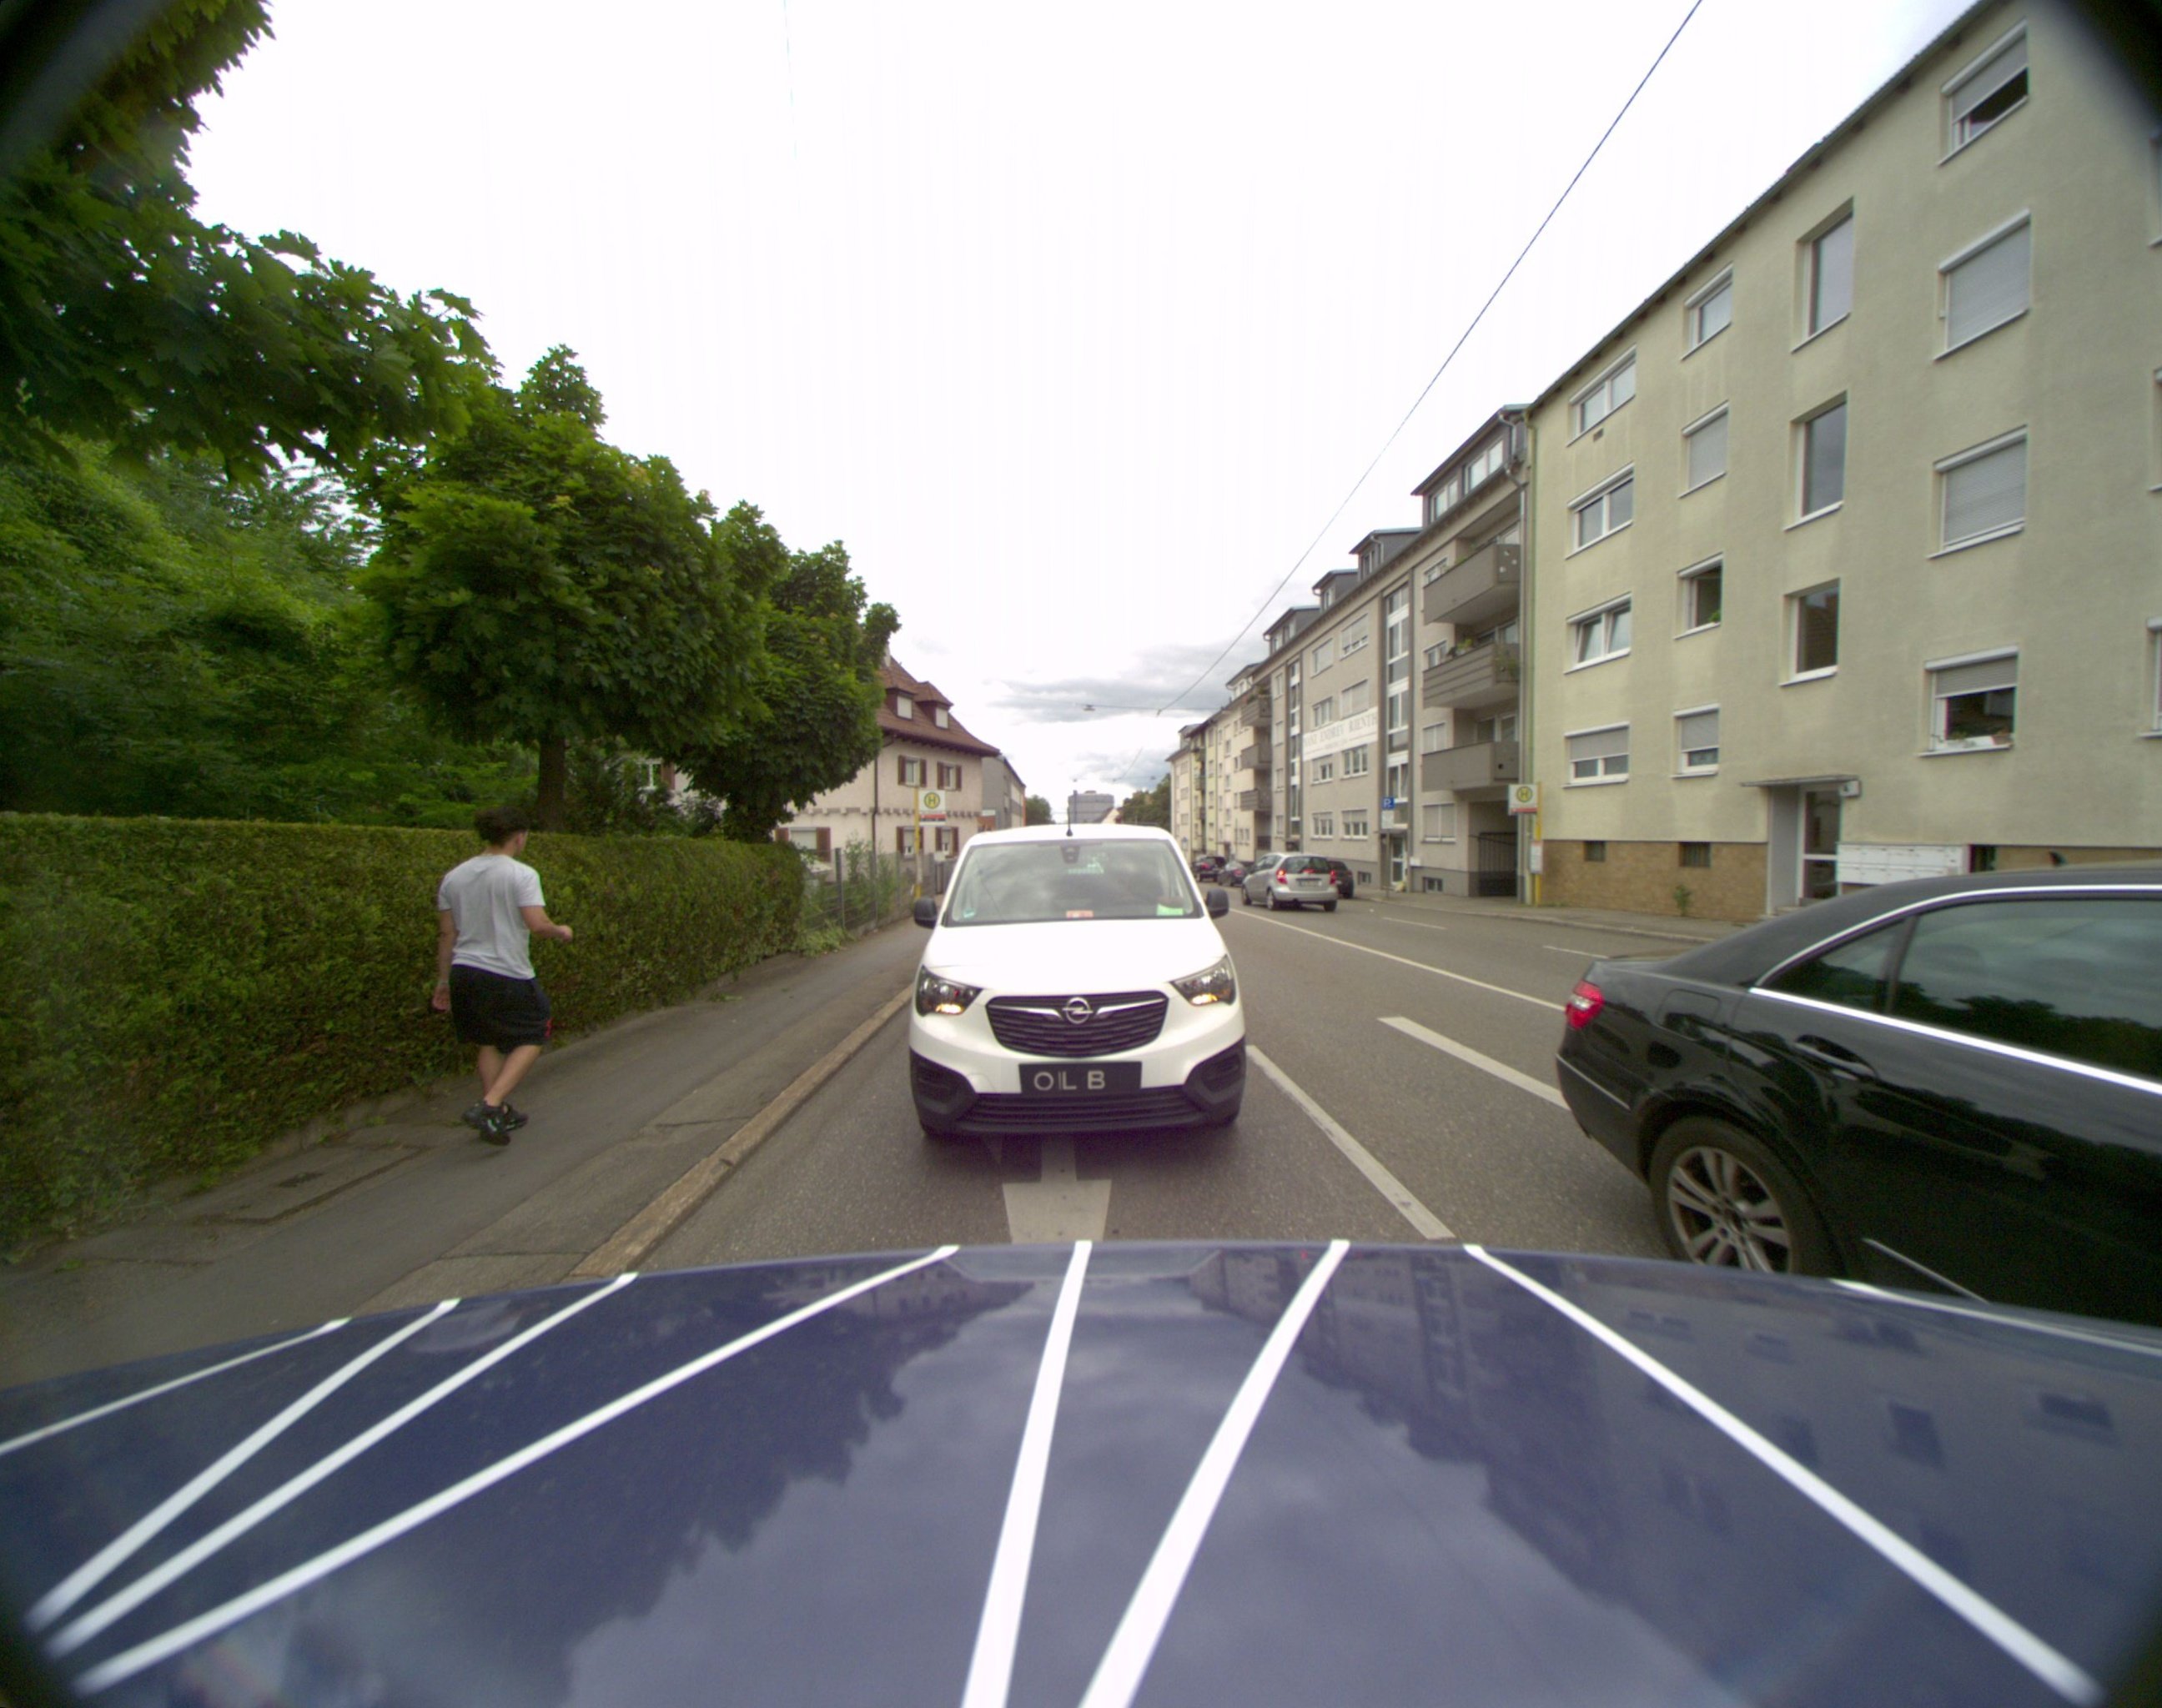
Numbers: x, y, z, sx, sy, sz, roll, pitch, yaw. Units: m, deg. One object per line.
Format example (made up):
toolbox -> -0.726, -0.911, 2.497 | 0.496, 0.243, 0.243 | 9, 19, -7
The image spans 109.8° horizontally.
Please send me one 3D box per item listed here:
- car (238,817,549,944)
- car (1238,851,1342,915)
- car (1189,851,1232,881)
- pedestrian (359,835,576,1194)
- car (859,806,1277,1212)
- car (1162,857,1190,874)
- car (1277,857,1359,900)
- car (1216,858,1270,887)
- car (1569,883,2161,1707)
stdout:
car -> -12.633, 0.404, 14.167 | 1.994, 2.002, 4.008 | -1, 0, 40
car -> 5.781, 0.740, 21.548 | 1.713, 1.608, 3.999 | 0, 1, -2
car -> 8.326, 0.734, 49.075 | 1.875, 1.743, 4.306 | 2, 1, -2
pedestrian -> -3.131, 0.782, 3.920 | 0.695, 1.728, 0.467 | 2, 1, -1
car -> -0.113, 0.675, 5.411 | 1.803, 1.736, 3.999 | -3, 1, -2
car -> 8.187, 0.975, 65.985 | 1.875, 1.372, 4.307 | 2, 0, 0
car -> 8.886, 0.866, 28.857 | 1.773, 1.428, 3.800 | 2, 0, -2
car -> 8.449, 0.943, 39.894 | 1.773, 1.397, 4.306 | 0, 0, -2
car -> 2.835, 0.884, 0.795 | 1.752, 1.446, 4.445 | -2, 1, 0
